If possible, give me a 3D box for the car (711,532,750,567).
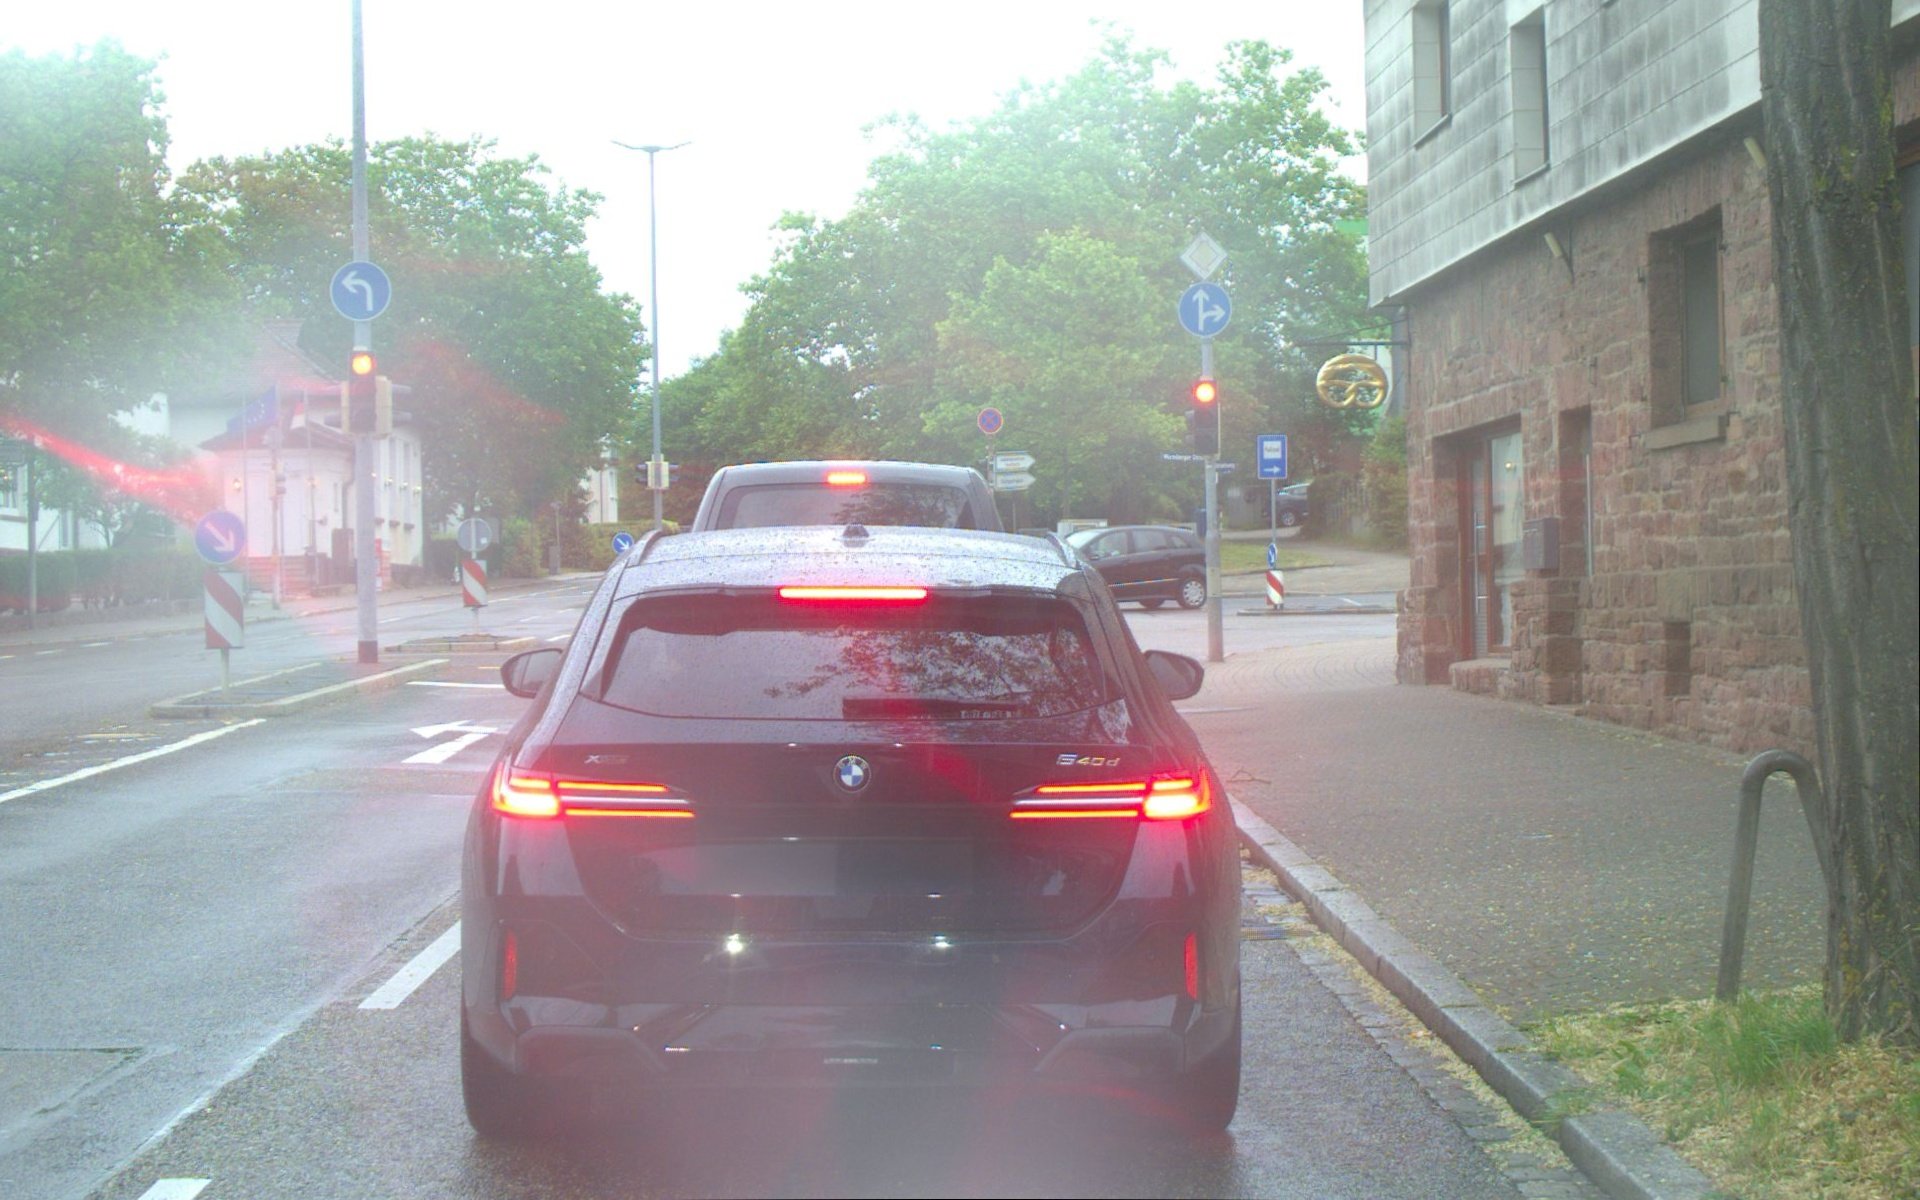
[{"bbox_3d":[-9.368,-2.066,140.475,1.464,1.393,3.322,0,1,-1],"label":"car"}]

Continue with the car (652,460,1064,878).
[{"bbox_3d":[-0.533,0.249,16.961,1.783,1.811,4.001,0,1,-3],"label":"car"}]

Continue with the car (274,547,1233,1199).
[{"bbox_3d":[-0.561,0.589,9.689,2.064,1.441,4.484,0,1,-3],"label":"car"}]

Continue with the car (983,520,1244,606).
[{"bbox_3d":[2.887,-0.699,64.828,4.467,1.581,2.072,0,1,-19],"label":"car"}]

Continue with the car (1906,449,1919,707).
[{"bbox_3d":[2.737,0.461,4.819,1.583,1.485,3.628,-4,2,-3],"label":"car"}]
